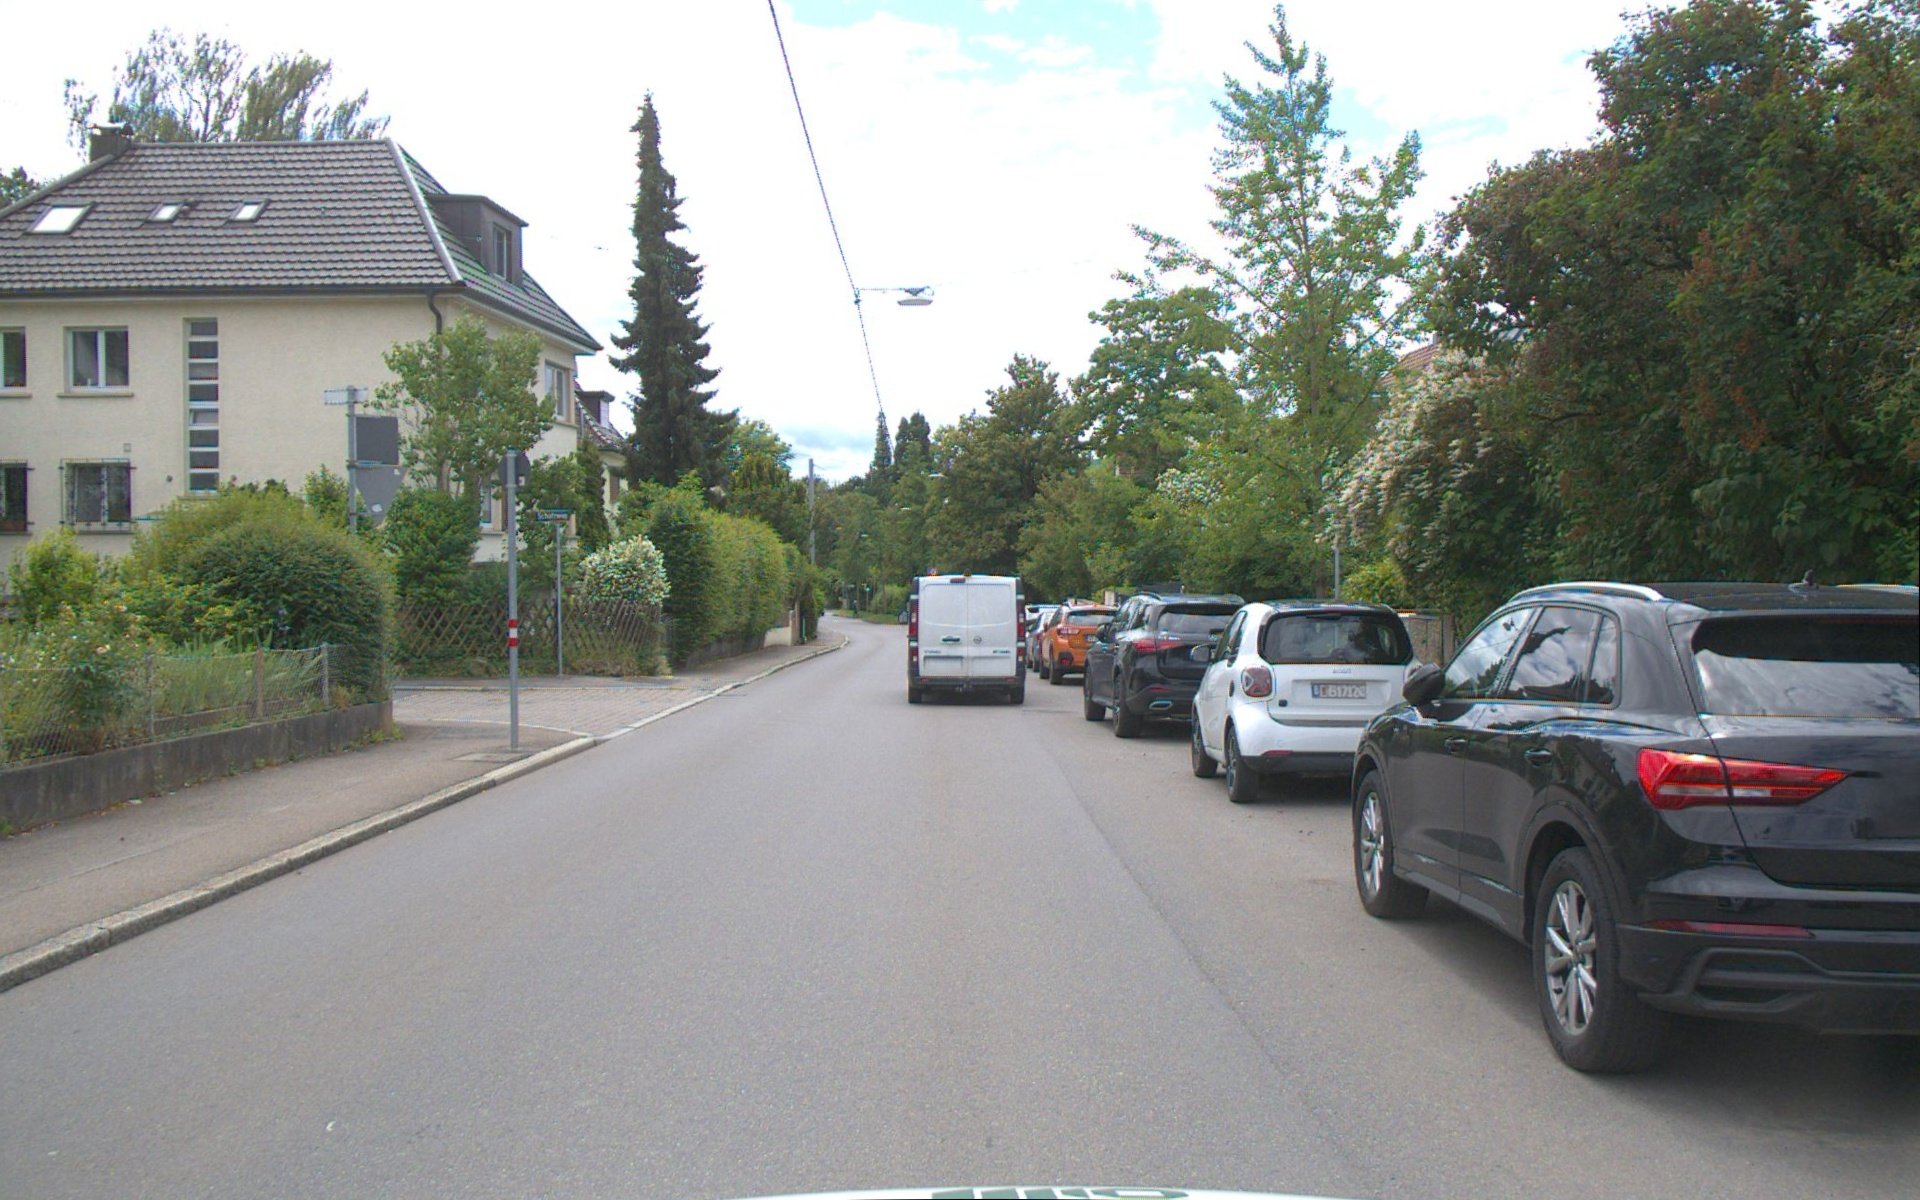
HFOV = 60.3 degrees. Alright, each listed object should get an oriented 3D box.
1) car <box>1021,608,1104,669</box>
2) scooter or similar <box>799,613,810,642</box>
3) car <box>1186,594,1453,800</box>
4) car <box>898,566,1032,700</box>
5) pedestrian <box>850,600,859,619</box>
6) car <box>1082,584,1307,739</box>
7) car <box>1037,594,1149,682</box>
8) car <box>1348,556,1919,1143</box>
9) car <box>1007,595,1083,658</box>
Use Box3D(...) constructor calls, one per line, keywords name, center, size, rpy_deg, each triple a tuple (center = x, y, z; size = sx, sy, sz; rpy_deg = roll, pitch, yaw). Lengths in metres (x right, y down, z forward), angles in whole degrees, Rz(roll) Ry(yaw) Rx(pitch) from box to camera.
Box3D(name="car", center=(2.457, 0.908, 40.409), size=(1.681, 1.406, 4.235), rpy_deg=(0, -1, -1))
Box3D(name="scooter or similar", center=(-6.454, 1.122, 68.595), size=(0.384, 1.191, 1.269), rpy_deg=(0, -1, -2))
Box3D(name="car", center=(2.903, 0.737, 13.911), size=(1.566, 1.537, 3.013), rpy_deg=(0, 0, -1))
Box3D(name="car", center=(0.001, 0.484, 27.019), size=(1.892, 1.998, 4.398), rpy_deg=(1, 0, -4))
Box3D(name="pedestrian", center=(-9.289, 0.827, 145.326), size=(0.684, 1.644, 0.714), rpy_deg=(0, 2, -8))
Box3D(name="car", center=(2.744, 0.700, 20.343), size=(1.911, 1.655, 4.373), rpy_deg=(1, -1, -3))
Box3D(name="car", center=(2.663, 0.756, 34.085), size=(1.813, 1.655, 4.168), rpy_deg=(1, -1, -2))
Box3D(name="car", center=(2.912, 0.697, 6.646), size=(1.764, 1.620, 4.141), rpy_deg=(0, 0, 0))
Box3D(name="car", center=(2.311, 0.714, 45.856), size=(1.792, 1.652, 4.491), rpy_deg=(0, -1, -1))
